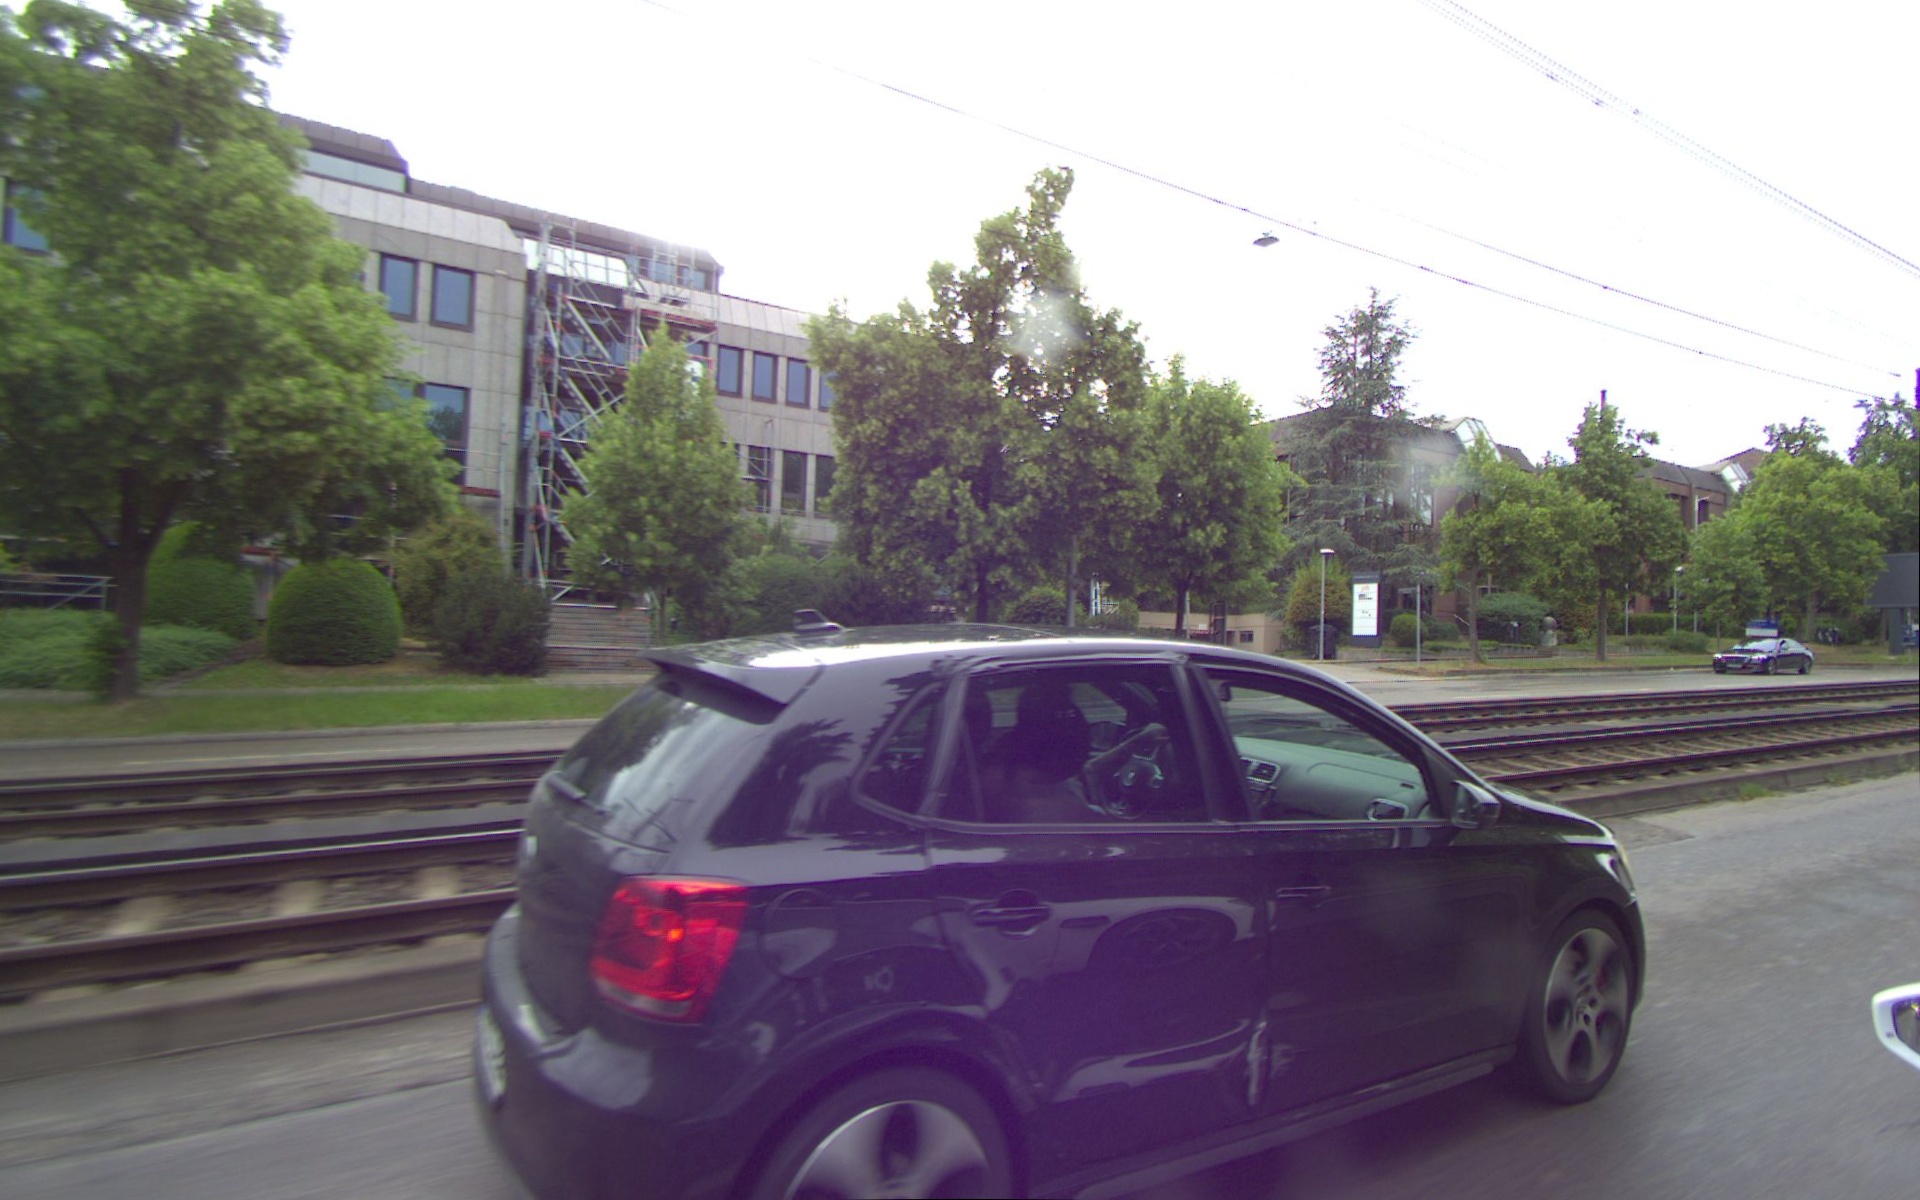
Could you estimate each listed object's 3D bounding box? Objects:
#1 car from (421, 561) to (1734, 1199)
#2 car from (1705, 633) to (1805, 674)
[{"bbox_3d":[0.548,0.751,3.211,3.920,1.505,1.785,1,-2,-32],"label":"car"},{"bbox_3d":[32.424,2.146,40.935,4.570,1.550,1.785,1,-2,-32],"label":"car"}]
